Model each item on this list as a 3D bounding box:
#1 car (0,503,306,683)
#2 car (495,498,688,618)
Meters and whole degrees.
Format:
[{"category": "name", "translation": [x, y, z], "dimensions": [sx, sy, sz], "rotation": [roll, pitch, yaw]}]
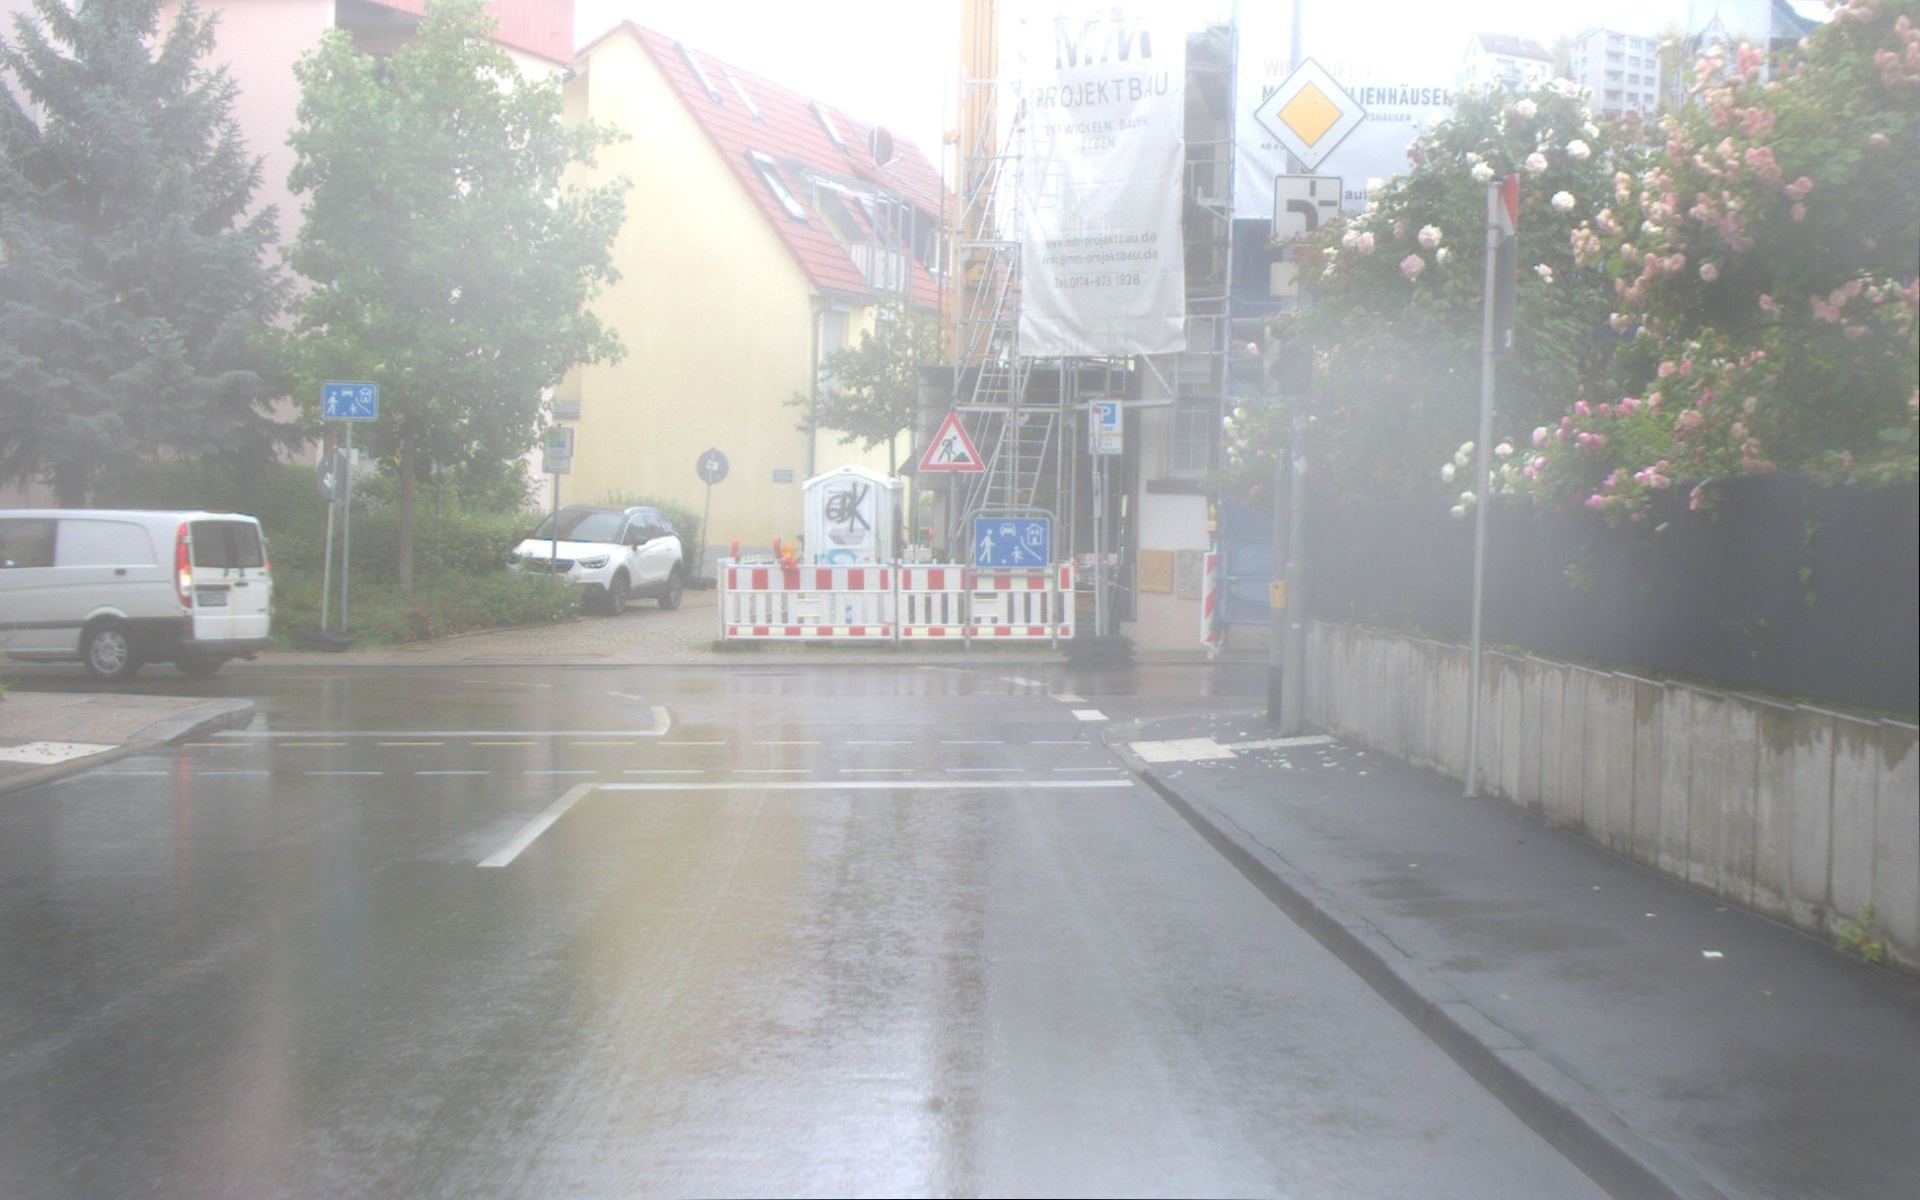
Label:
[{"category": "car", "translation": [-9.522, -0.105, 37.850], "dimensions": [3.992, 1.863, 2.186], "rotation": [1, 0, 22]}, {"category": "car", "translation": [-5.552, -0.672, 52.253], "dimensions": [1.601, 1.672, 3.936], "rotation": [3, 3, 14]}]
